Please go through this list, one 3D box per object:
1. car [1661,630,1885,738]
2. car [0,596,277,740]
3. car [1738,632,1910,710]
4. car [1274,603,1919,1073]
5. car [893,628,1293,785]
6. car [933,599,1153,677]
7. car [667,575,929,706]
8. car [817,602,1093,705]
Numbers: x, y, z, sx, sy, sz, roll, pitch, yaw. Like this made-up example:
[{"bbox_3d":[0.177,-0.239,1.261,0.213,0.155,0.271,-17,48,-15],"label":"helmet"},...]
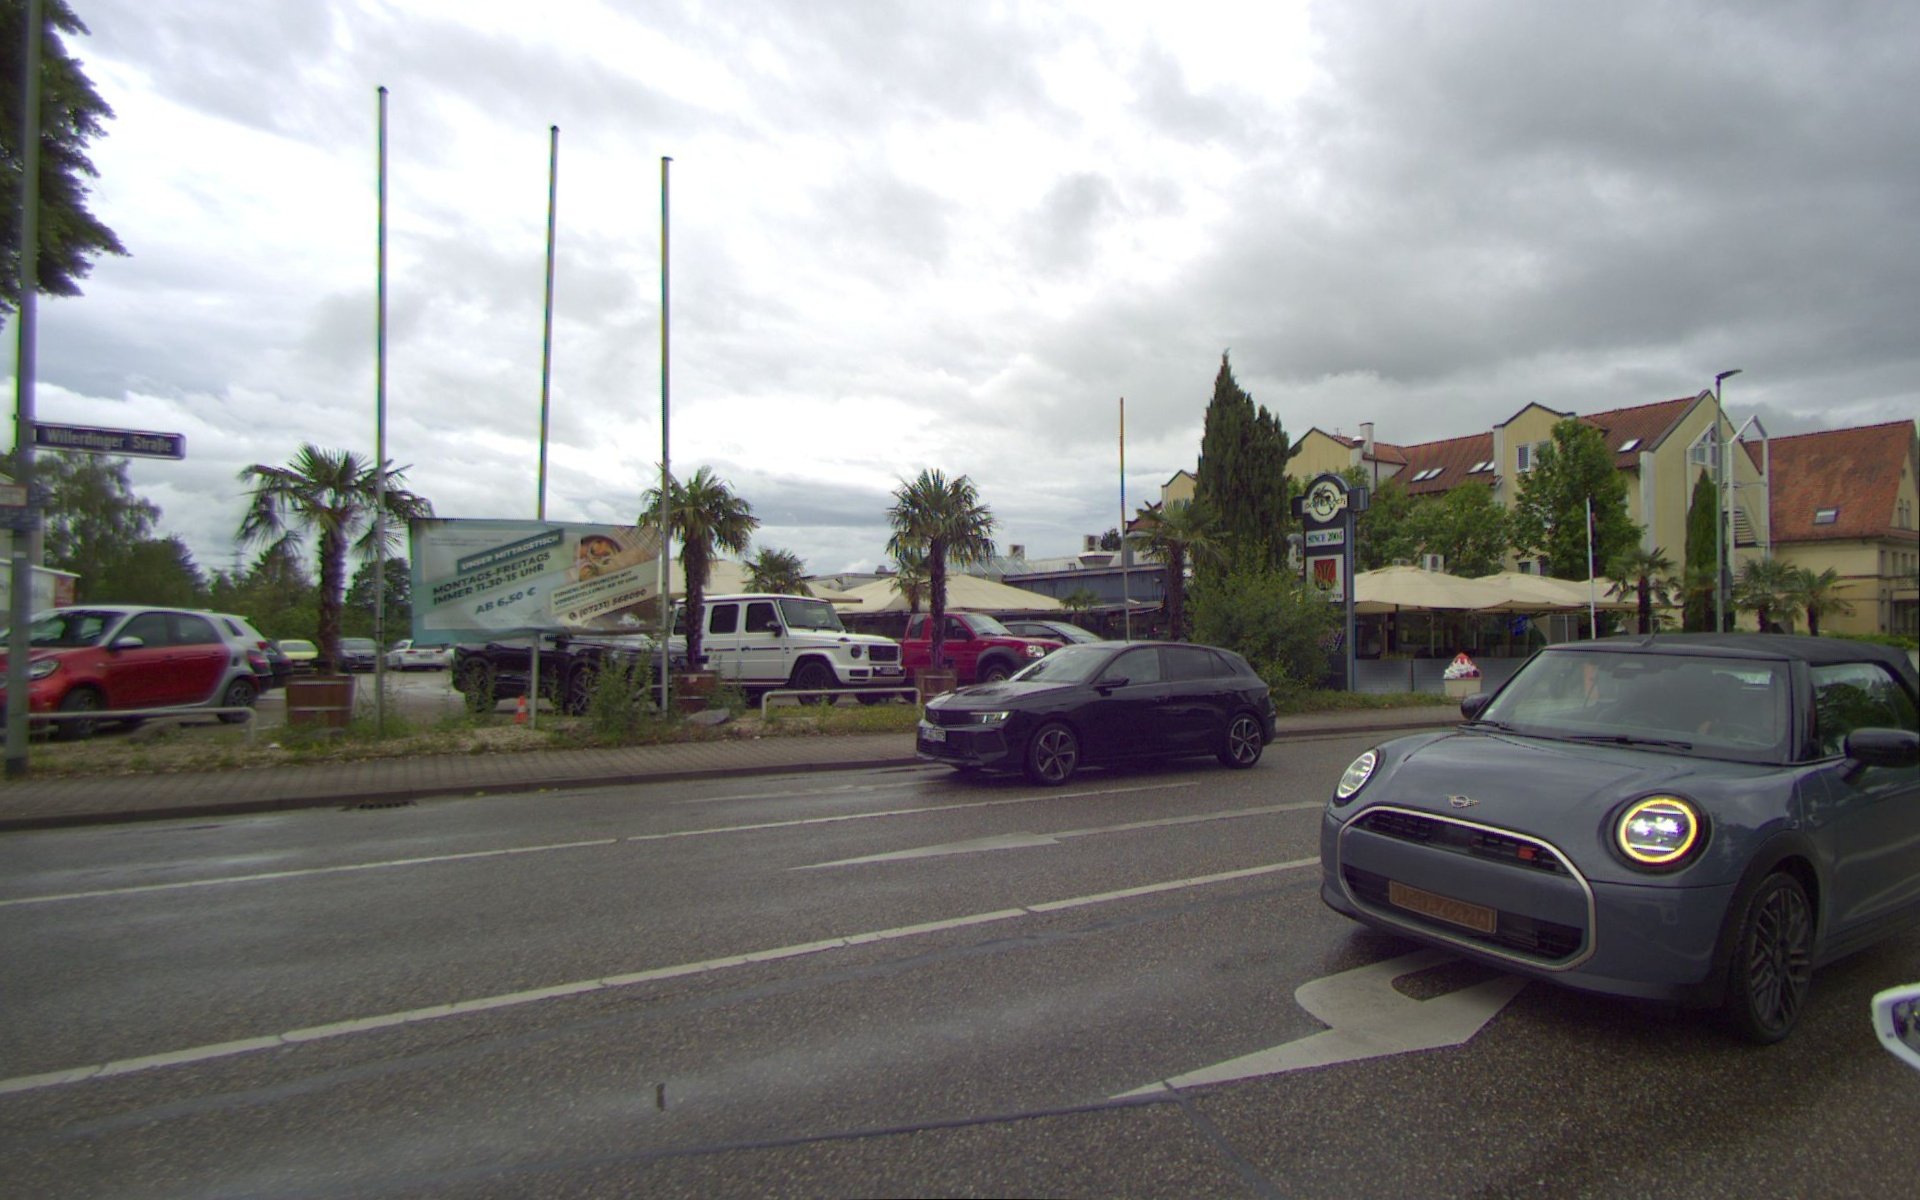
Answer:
[{"bbox_3d":[12.804,1.251,15.757,4.002,1.497,1.627,2,-2,-34],"label":"car"},{"bbox_3d":[-10.578,0.800,12.520,1.633,1.523,3.619,1,-3,-1],"label":"car"},{"bbox_3d":[18.772,1.515,21.794,3.926,1.553,1.629,2,-4,-31],"label":"car"},{"bbox_3d":[3.485,0.766,4.827,3.903,1.460,1.594,1,0,-31],"label":"car"},{"bbox_3d":[1.555,1.049,11.065,4.356,1.418,1.594,1,-3,-32],"label":"car"},{"bbox_3d":[1.727,0.885,21.485,4.298,1.482,1.994,-3,-6,36],"label":"car"},{"bbox_3d":[-2.900,0.749,17.689,4.325,2.040,1.995,-3,-3,32],"label":"car"},{"bbox_3d":[-0.157,1.057,18.961,4.928,1.724,1.996,-3,-5,33],"label":"car"}]
